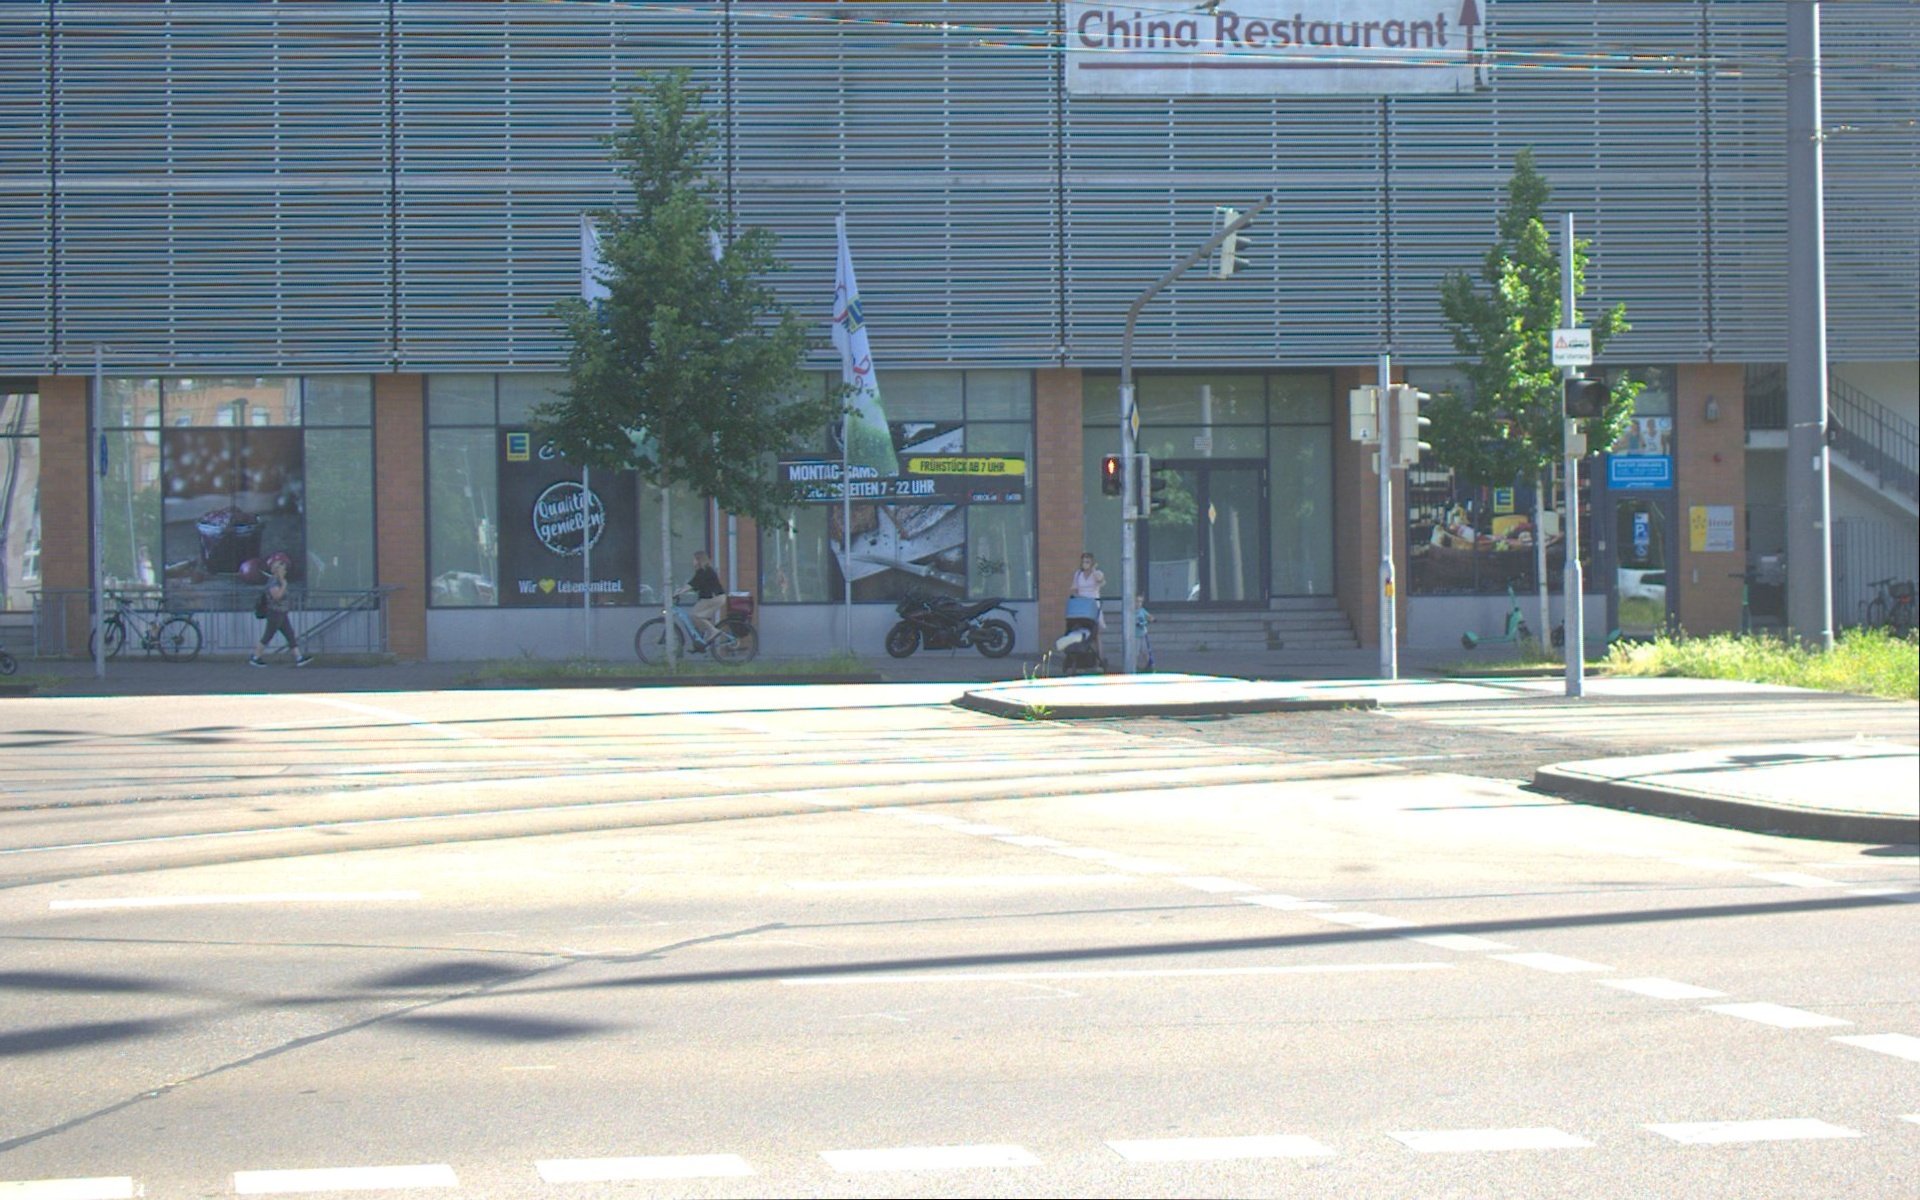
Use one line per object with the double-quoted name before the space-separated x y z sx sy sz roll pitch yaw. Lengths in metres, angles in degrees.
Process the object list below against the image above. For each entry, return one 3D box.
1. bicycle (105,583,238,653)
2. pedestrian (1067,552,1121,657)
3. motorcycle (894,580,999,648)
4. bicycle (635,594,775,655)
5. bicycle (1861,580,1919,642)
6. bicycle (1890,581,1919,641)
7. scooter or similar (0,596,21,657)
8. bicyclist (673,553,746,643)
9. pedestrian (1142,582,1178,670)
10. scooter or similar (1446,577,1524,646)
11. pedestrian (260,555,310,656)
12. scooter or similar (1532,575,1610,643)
"bicycle" -12.038 0.269 52.538 1.944 1.035 0.573 0 0 -10
"pedestrian" 1.902 0.056 48.750 0.739 1.482 0.490 0 0 4
"motorcycle" -0.214 0.215 53.801 1.613 1.035 0.402 0 0 -5
"bicycle" -3.777 0.358 50.878 2.041 0.864 0.682 0 0 -7
"bicycle" 15.351 0.172 55.797 0.491 0.951 2.181 0 2 -12
"bicycle" 15.883 0.191 55.962 0.491 0.951 2.181 0 2 -12
"scooter or similar" -13.788 0.380 48.115 1.222 0.848 0.301 0 0 -9
"bicyclist" -3.716 -0.037 50.893 1.036 1.314 0.682 0 0 -7
"pedestrian" 2.794 0.365 48.118 0.447 1.225 0.397 0 0 -5
"scooter or similar" 8.534 0.181 55.853 1.201 1.099 0.277 1 0 -4
"pedestrian" -10.133 0.081 51.640 0.647 1.514 0.491 0 0 -1
"scooter or similar" 9.987 0.147 56.226 1.201 1.099 0.277 1 0 -4
